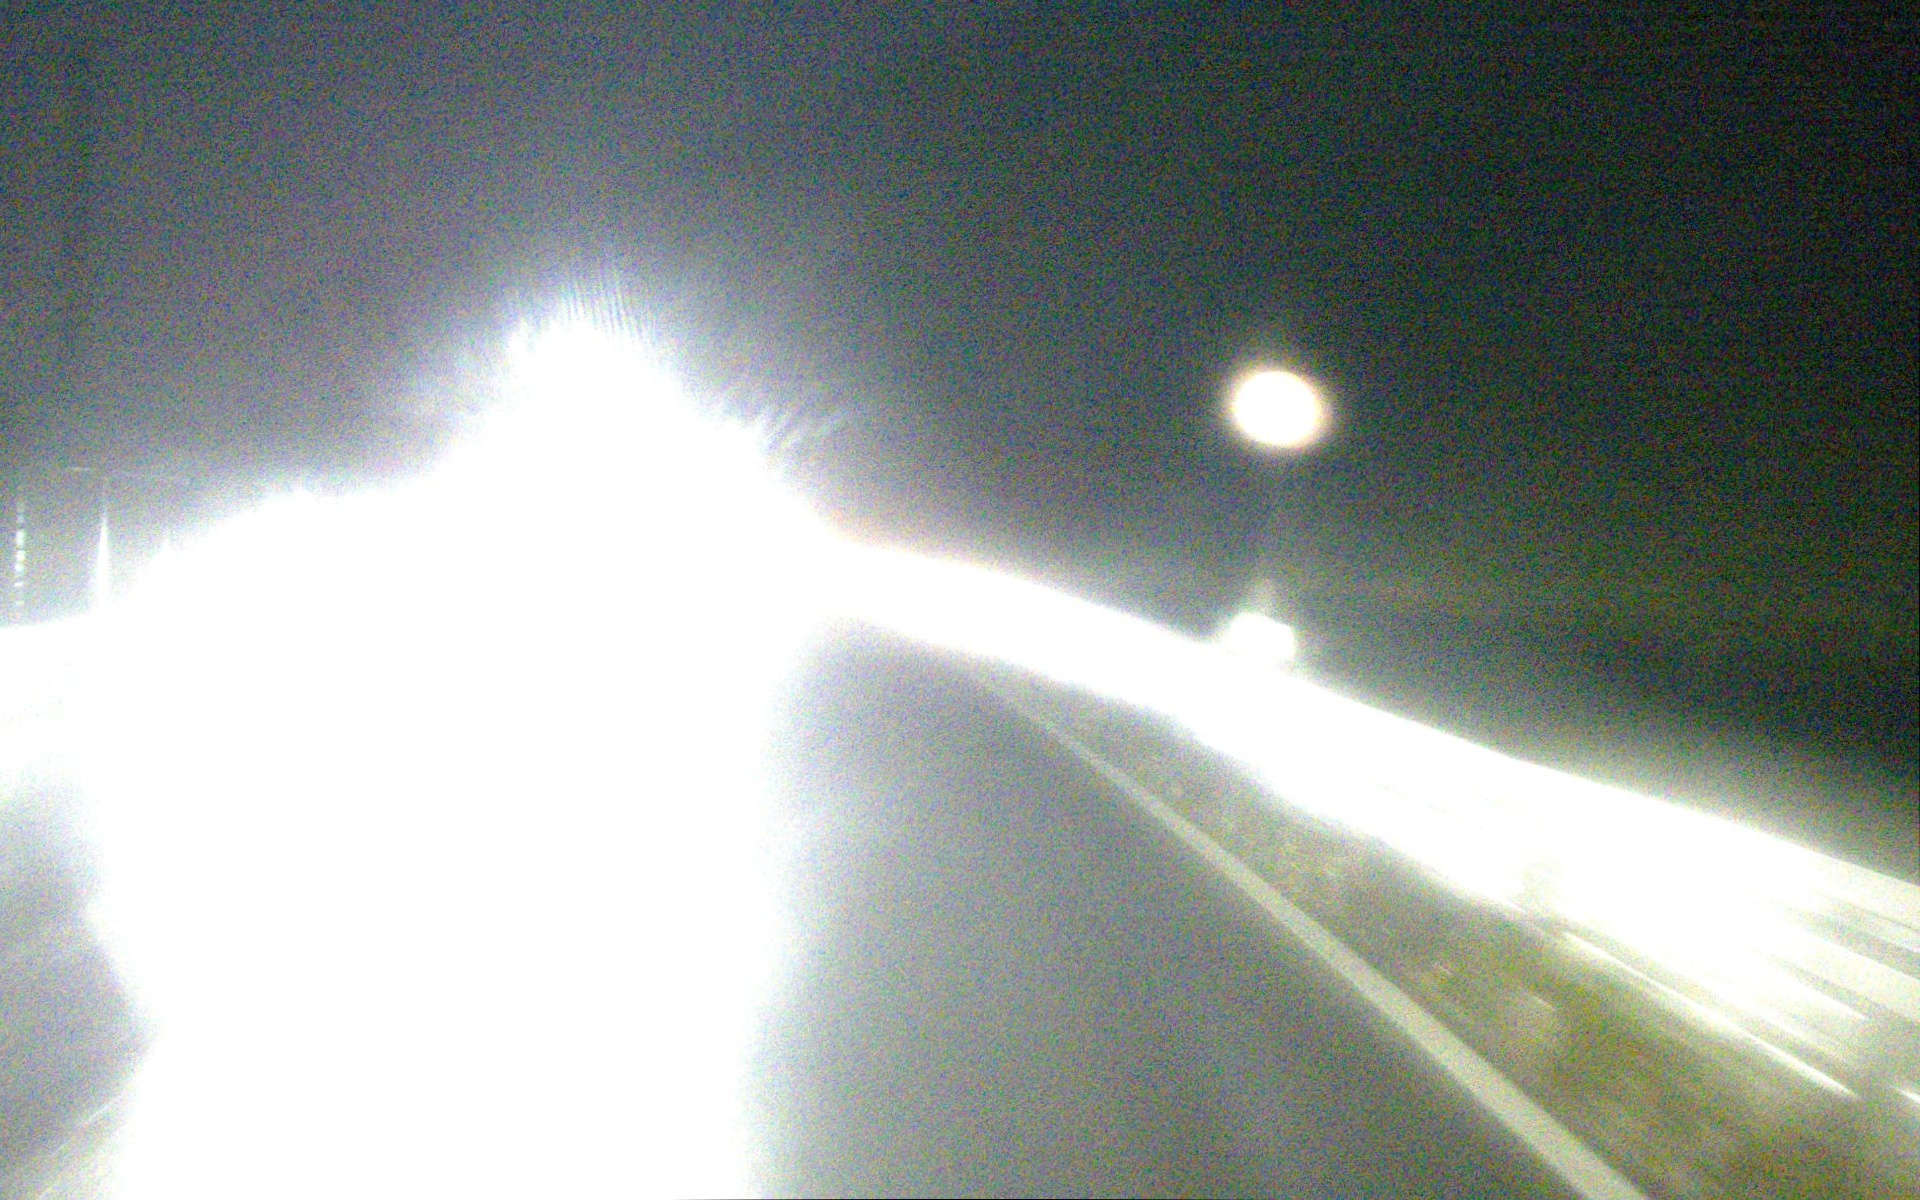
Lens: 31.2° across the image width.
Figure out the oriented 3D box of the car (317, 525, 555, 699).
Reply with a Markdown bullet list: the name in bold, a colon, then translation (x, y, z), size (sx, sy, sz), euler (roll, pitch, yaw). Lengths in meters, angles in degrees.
- **car**: translation (-4.766, 0.075, 31.694), size (1.702, 1.501, 3.684), euler (0, 1, -1)

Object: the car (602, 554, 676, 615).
- **car**: translation (-8.128, -0.412, 87.266), size (1.832, 1.478, 4.070), euler (0, 1, -5)

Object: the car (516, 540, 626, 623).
- **car**: translation (-7.258, -0.371, 64.436), size (1.832, 1.477, 4.354), euler (0, 1, -4)
